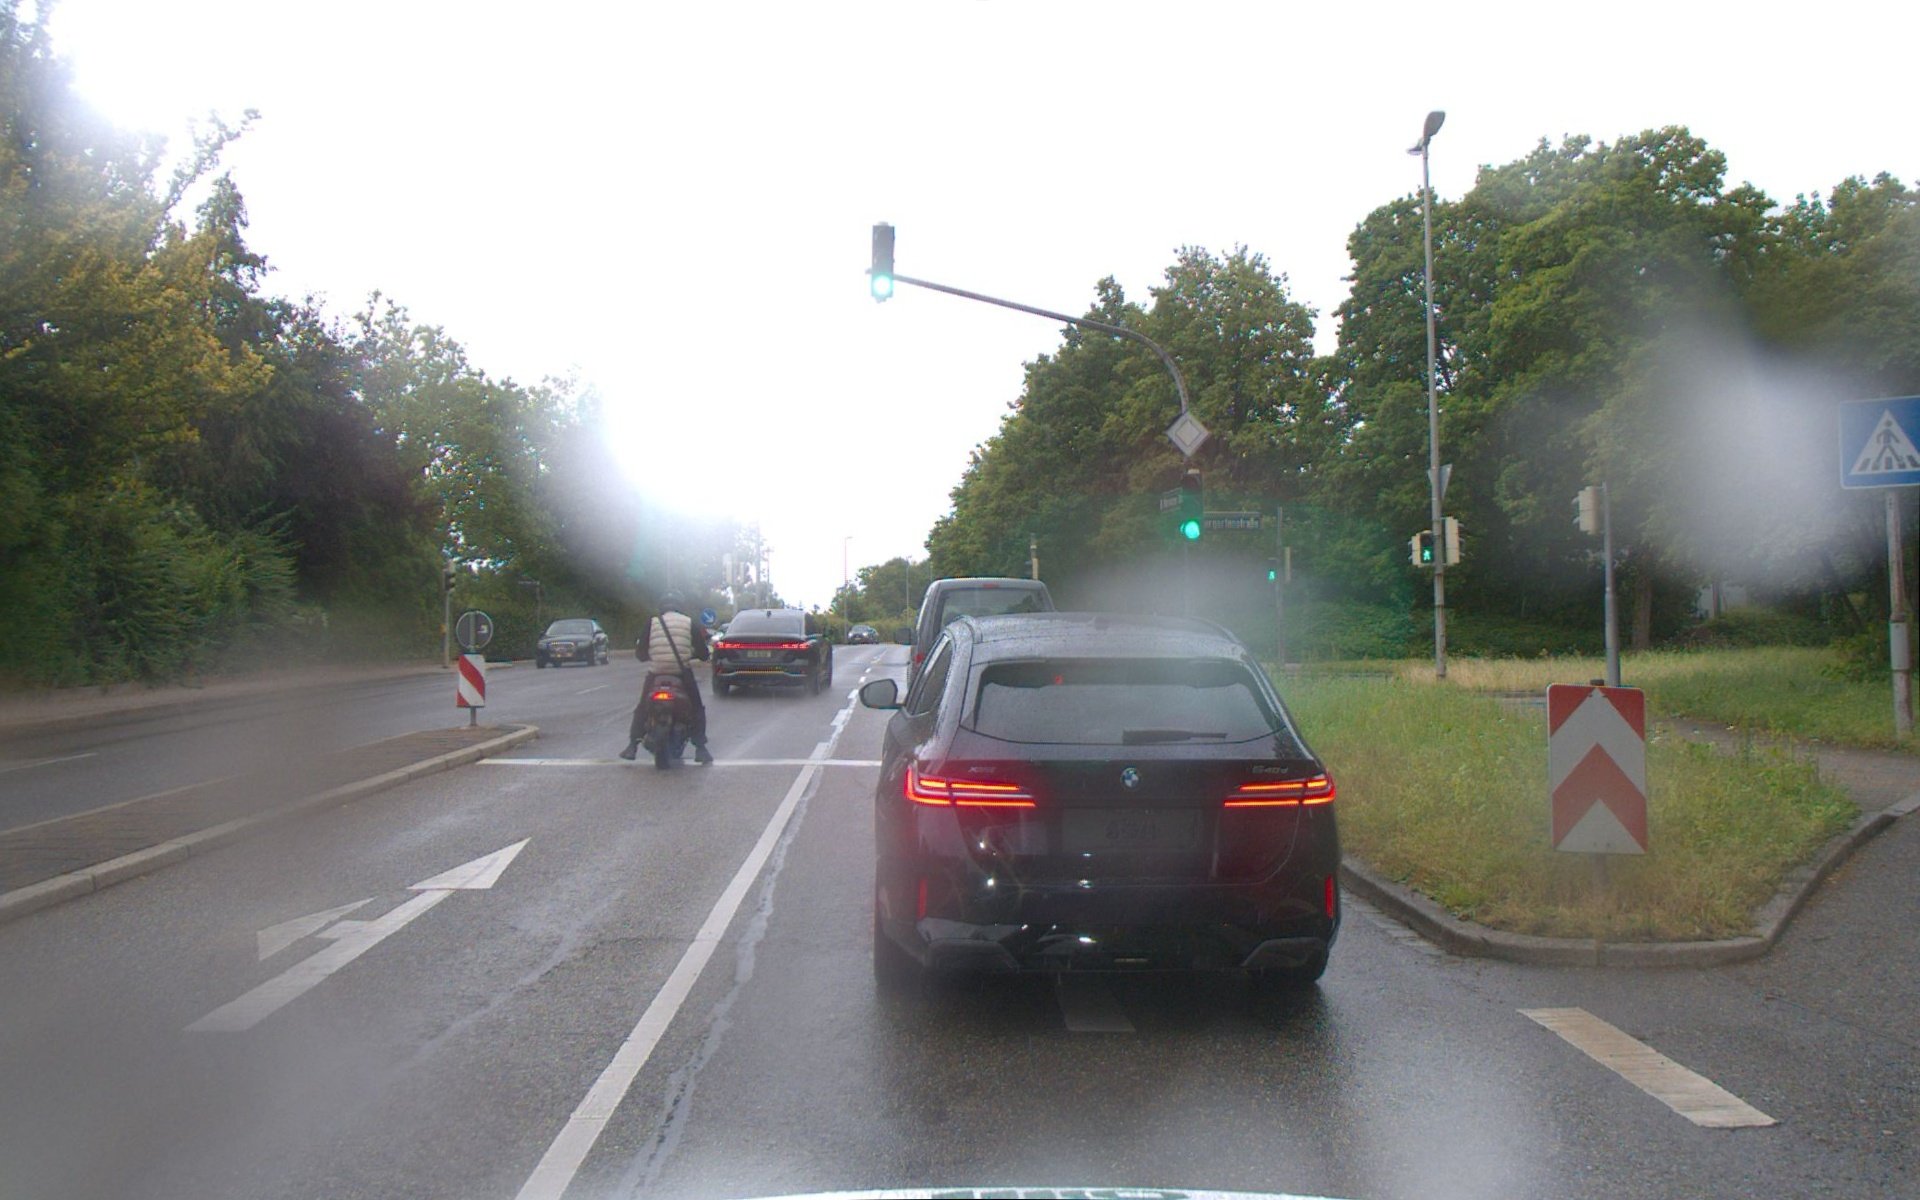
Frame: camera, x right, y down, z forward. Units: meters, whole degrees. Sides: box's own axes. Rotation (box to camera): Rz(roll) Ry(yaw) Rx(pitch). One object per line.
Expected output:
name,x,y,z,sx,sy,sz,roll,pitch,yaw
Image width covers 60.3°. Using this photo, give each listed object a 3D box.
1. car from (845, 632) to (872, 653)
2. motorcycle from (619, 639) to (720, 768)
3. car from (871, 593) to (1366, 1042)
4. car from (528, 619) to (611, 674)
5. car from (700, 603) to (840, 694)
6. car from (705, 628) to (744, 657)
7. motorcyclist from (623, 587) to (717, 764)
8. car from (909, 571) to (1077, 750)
car,-8.271,3.441,135.091,1.984,1.590,3.875,-2,-1,-2
motorcycle,-2.760,0.968,15.840,0.726,1.139,1.426,1,0,-1
car,0.533,0.777,7.631,1.728,1.563,3.672,0,0,-1
car,-11.687,1.367,49.693,1.826,1.519,3.830,-1,0,-5
car,-3.229,0.786,28.947,1.974,1.440,4.485,0,0,-1
car,-13.335,2.388,93.708,1.693,1.511,4.155,-2,0,-2
motorcyclist,-2.785,0.715,15.914,0.828,1.676,0.467,0,0,-1
car,0.316,0.617,19.080,1.731,1.841,3.904,0,0,-1
